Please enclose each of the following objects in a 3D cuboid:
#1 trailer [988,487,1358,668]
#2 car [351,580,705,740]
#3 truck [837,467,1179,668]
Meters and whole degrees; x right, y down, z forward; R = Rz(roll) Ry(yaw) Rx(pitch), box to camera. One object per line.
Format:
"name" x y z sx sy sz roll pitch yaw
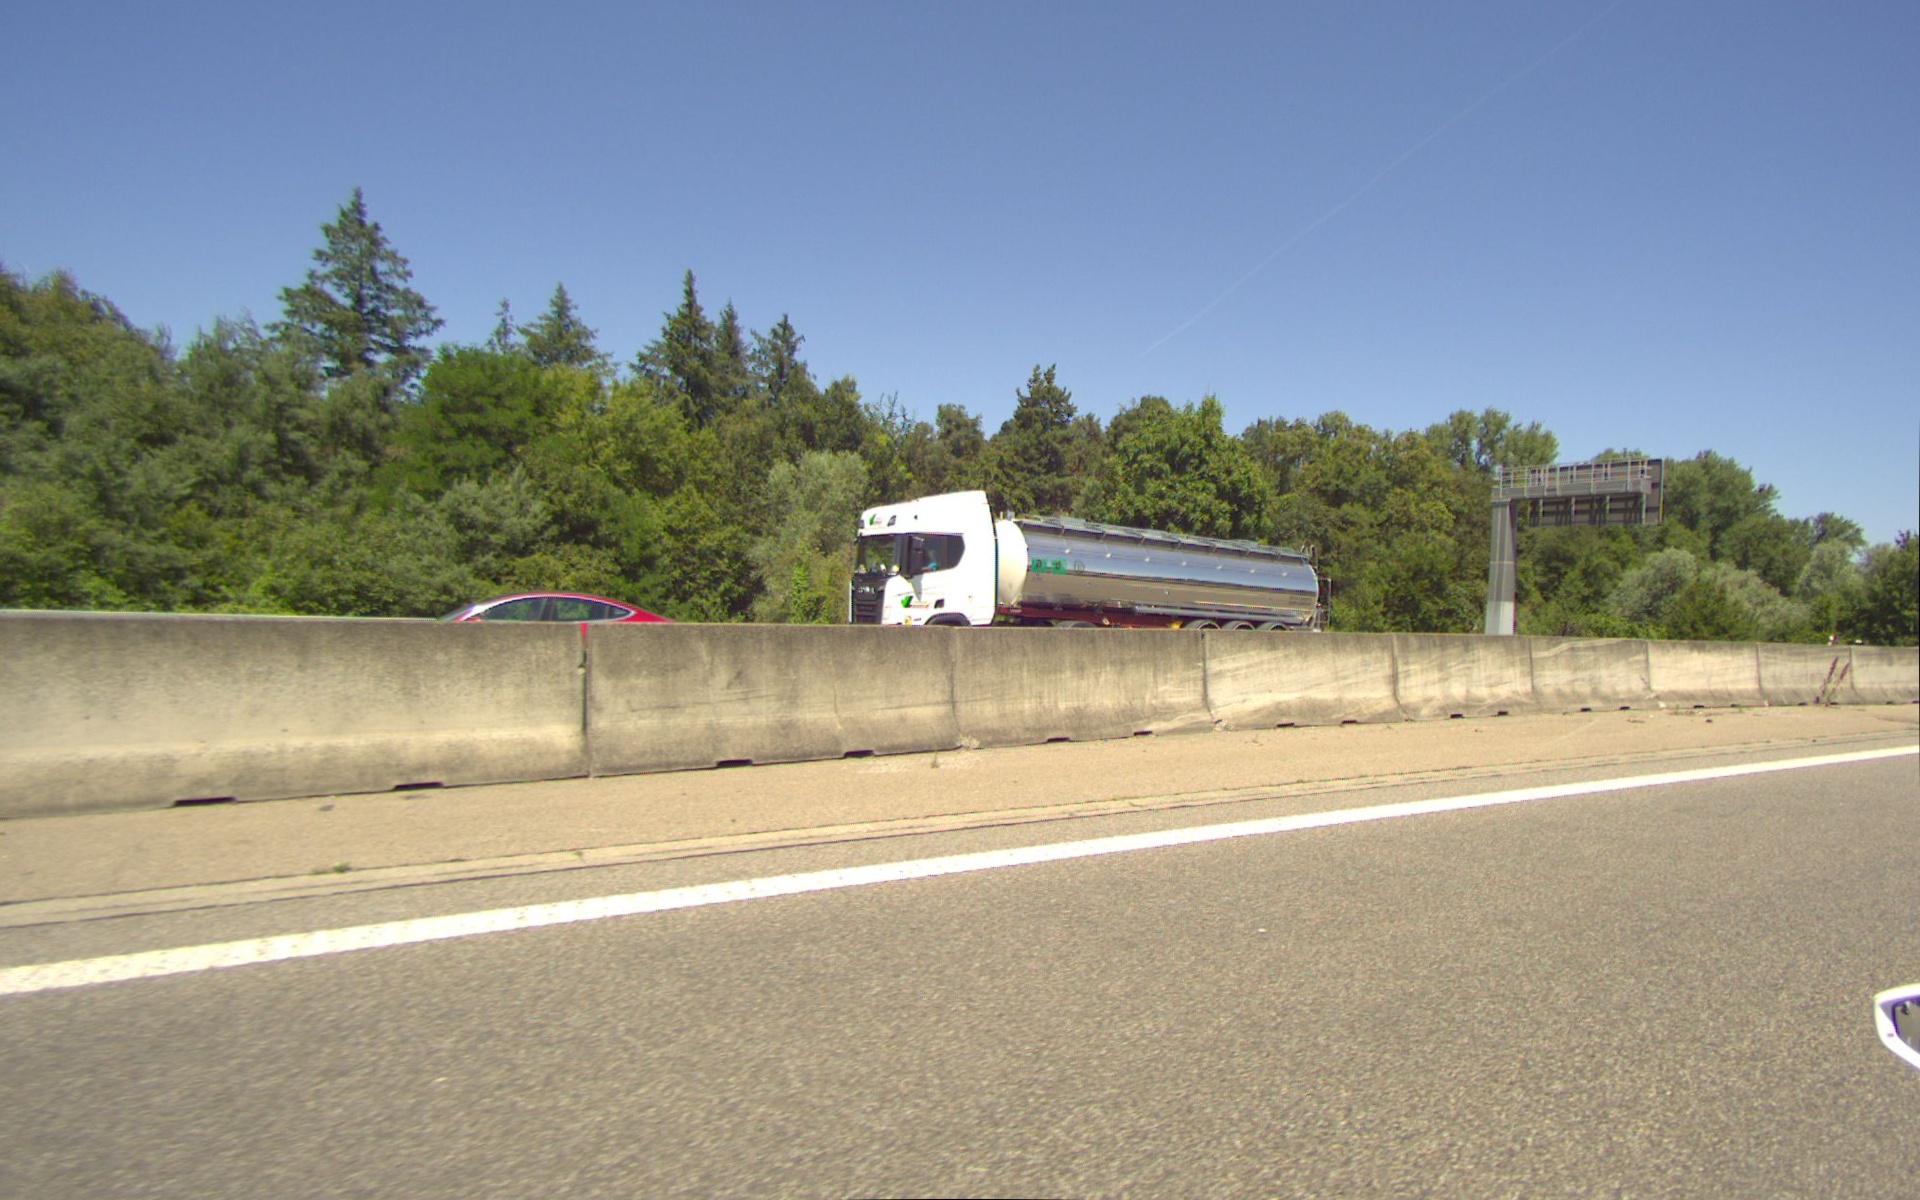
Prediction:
"trailer" 5.915 -0.461 26.619 10.314 4.102 2.792 2 3 -32
"car" -6.304 0.813 14.834 4.524 2.040 1.983 2 0 -32
"truck" 1.259 -0.649 23.739 7.642 4.102 2.792 2 3 -31
